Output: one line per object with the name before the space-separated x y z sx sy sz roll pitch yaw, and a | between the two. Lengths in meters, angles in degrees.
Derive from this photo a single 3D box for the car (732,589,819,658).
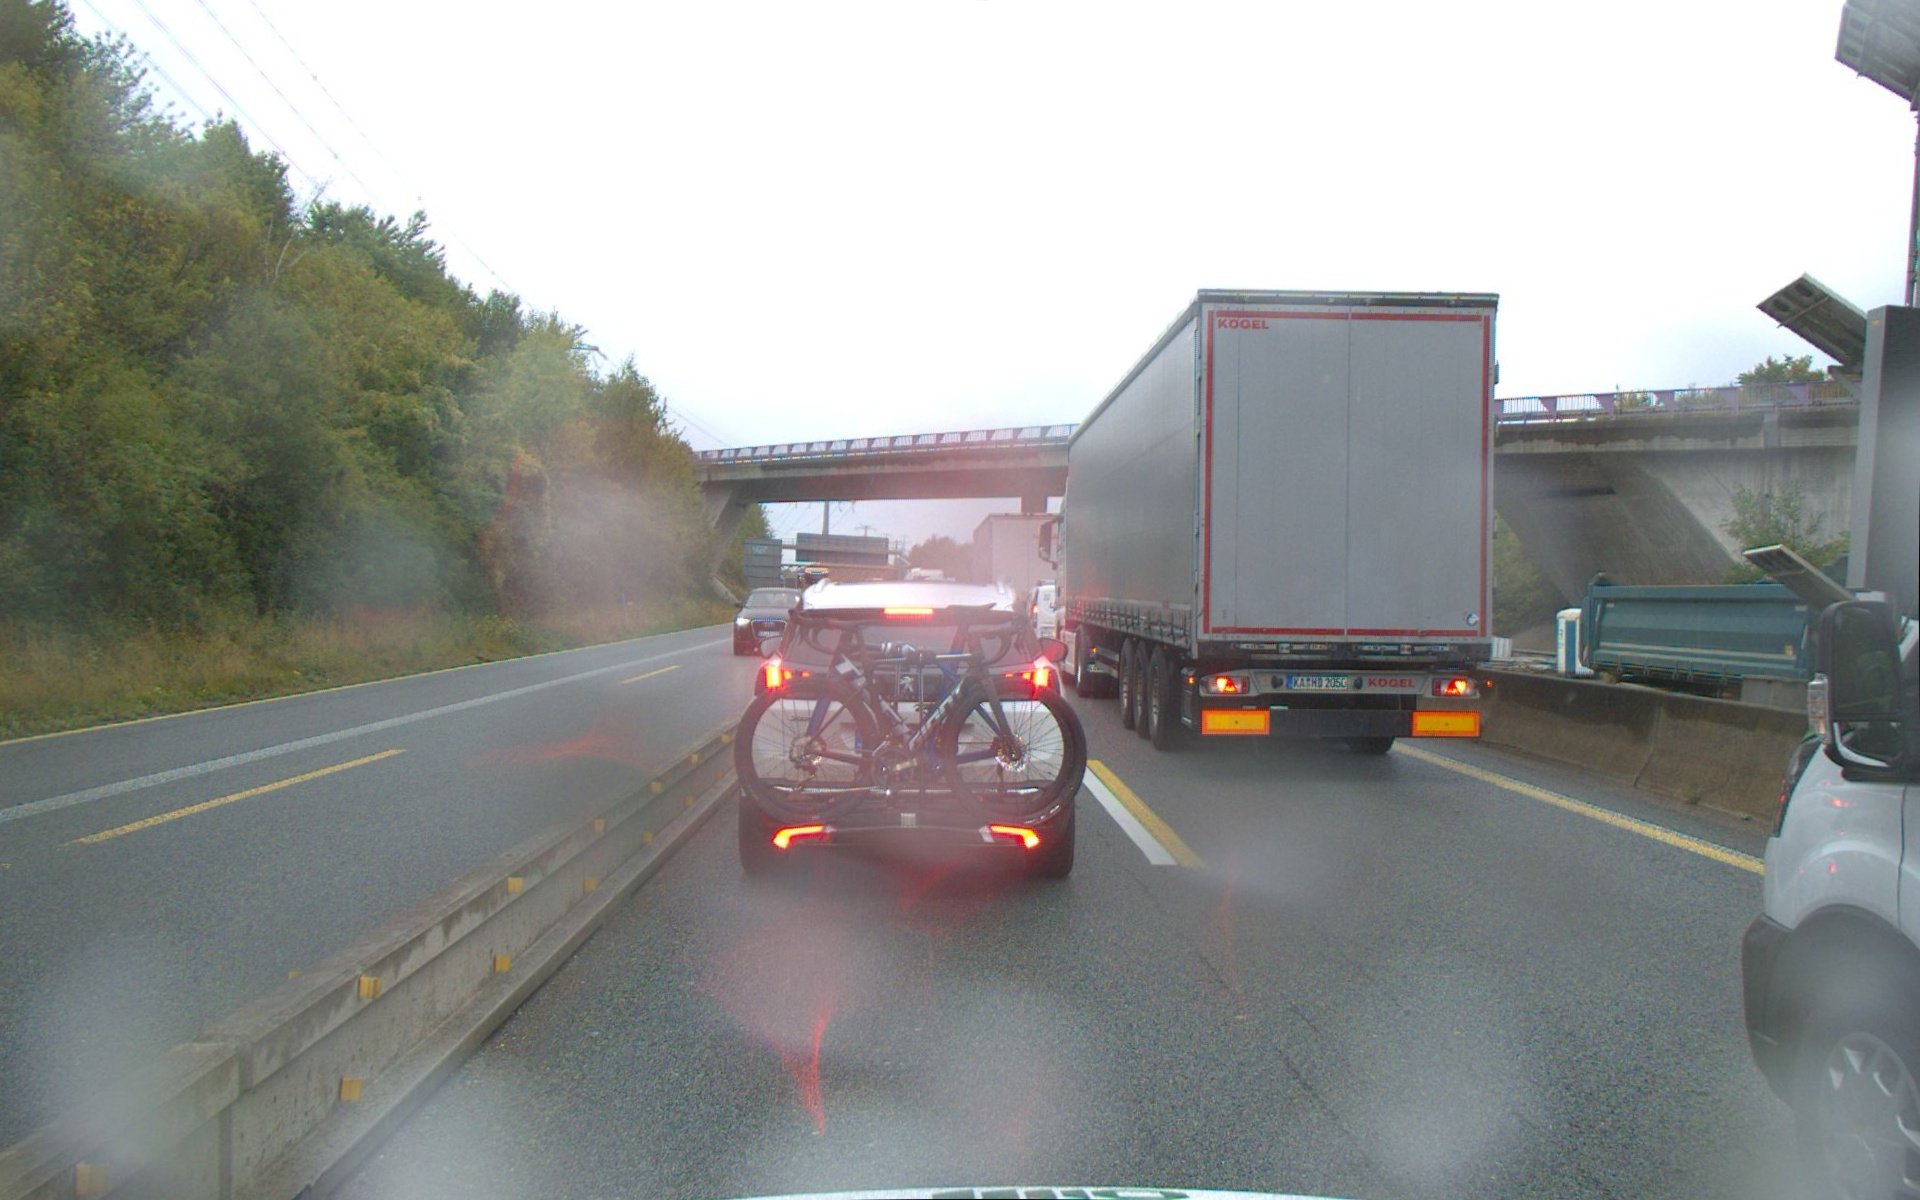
car | -4.451 0.556 40.415 1.773 1.586 3.988 1 0 -2

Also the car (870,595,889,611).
car | -7.342 0.247 151.177 1.652 1.434 3.928 1 0 -2

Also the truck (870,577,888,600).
truck | -12.467 -1.717 254.446 2.484 3.411 12.045 1 0 -2

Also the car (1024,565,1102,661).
car | 2.481 0.305 40.710 1.635 2.218 4.534 1 0 0

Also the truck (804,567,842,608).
truck | -12.972 -1.089 157.627 2.627 3.720 12.309 1 0 -1

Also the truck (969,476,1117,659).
truck | 2.724 -1.010 63.019 4.645 5.772 20.375 1 0 0

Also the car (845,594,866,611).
car | -9.239 0.188 146.419 1.744 1.469 4.326 1 0 -2

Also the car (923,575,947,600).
car | -2.091 -1.043 140.283 1.953 2.049 3.999 1 0 -1

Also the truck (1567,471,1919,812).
truck | 10.141 0.414 19.489 2.469 3.186 9.116 1 0 -1

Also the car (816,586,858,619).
car | -5.798 0.130 78.162 1.773 1.514 4.395 1 0 -2

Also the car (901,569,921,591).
car | -5.010 -2.029 170.792 1.953 2.164 4.526 1 0 -1

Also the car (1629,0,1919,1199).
car | 2.991 0.070 1.747 2.100 2.723 6.117 1 0 0

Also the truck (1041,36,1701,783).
truck | 3.717 -1.447 23.085 3.898 5.772 20.372 1 0 -1

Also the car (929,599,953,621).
car | -1.329 0.684 115.973 1.605 1.524 3.665 1 0 -1

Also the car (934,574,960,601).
car | -1.020 -0.962 128.156 1.953 2.049 3.999 1 0 -1

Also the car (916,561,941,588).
car | -2.913 -2.359 152.966 2.193 2.348 4.571 1 0 -1

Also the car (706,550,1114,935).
car | -0.205 0.633 9.586 1.773 1.666 4.635 1 0 0

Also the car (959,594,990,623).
car | 0.771 0.462 89.482 1.605 1.524 3.665 1 0 -1
